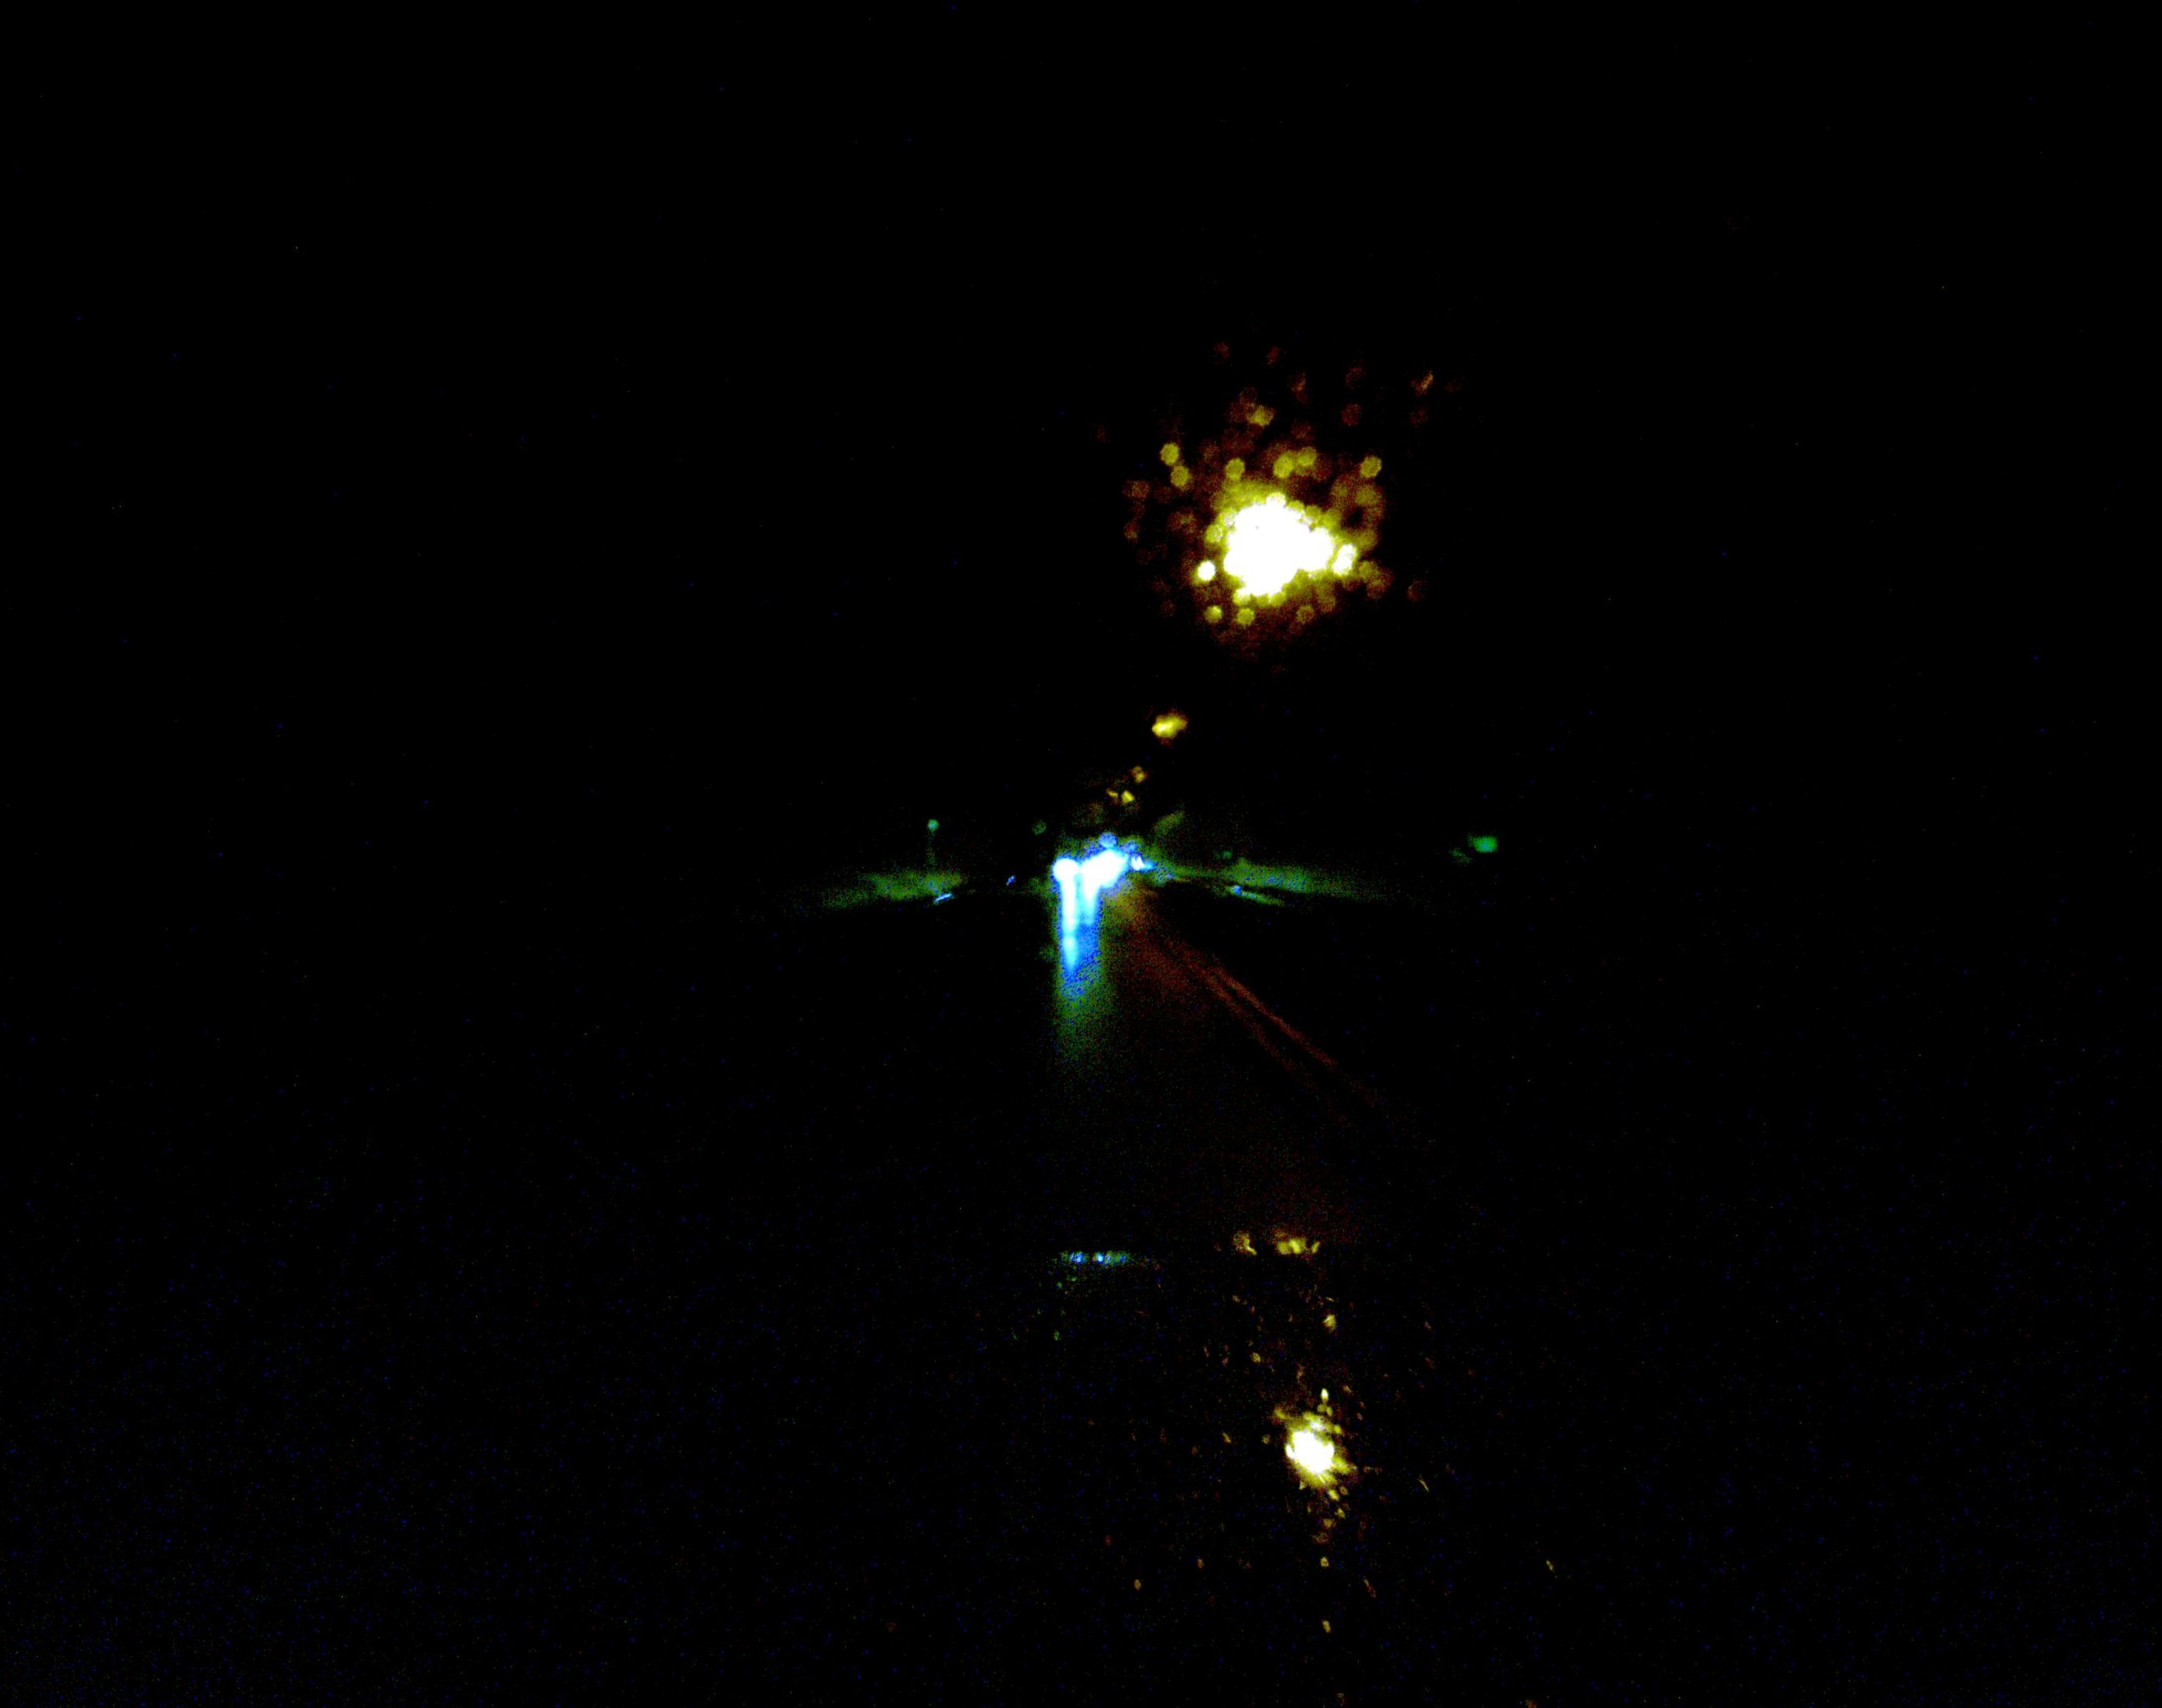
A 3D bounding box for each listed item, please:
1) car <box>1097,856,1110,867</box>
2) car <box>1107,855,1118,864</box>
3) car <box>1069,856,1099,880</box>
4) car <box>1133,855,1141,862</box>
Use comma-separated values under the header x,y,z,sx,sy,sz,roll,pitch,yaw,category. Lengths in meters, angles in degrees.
x,y,z,sx,sy,sz,roll,pitch,yaw,category
3.520,1.128,120.104,1.998,1.576,4.000,-3,1,1,car
5.861,1.026,141.104,1.998,1.576,4.000,-3,1,3,car
0.224,0.948,54.110,1.998,1.576,3.999,0,1,0,car
14.751,1.142,200.586,1.998,1.576,4.000,-3,1,3,car
